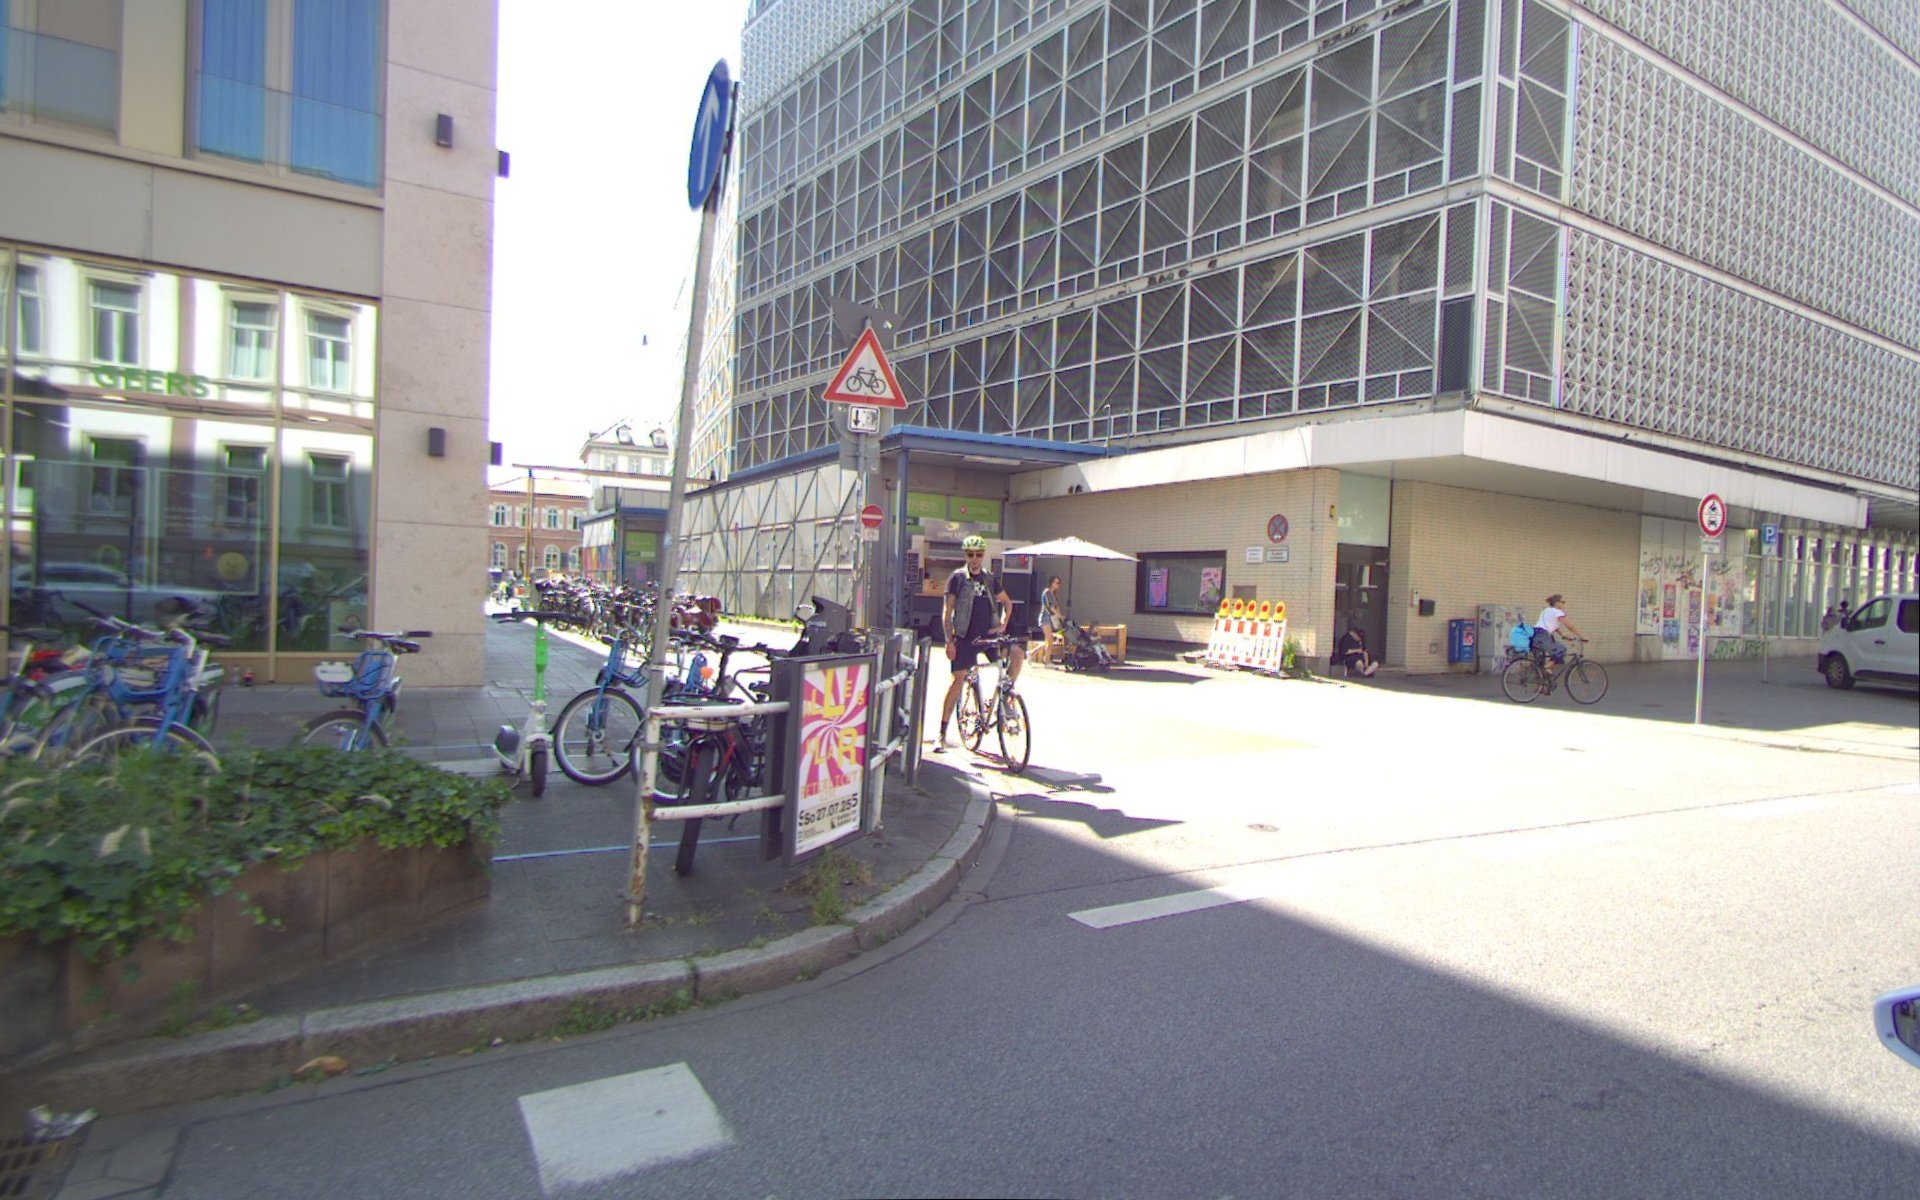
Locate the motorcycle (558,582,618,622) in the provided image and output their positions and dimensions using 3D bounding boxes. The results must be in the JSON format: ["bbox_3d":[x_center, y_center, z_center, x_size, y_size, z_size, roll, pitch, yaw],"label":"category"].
[{"bbox_3d":[-11.809,0.052,31.961,0.693,1.213,2.065,2,1,16],"label":"motorcycle"}]

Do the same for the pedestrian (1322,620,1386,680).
[{"bbox_3d":[7.705,0.962,19.649,0.831,1.071,0.717,2,4,-31],"label":"pedestrian"}]

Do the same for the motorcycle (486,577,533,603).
[{"bbox_3d":[-21.102,-0.460,47.084,0.696,1.189,1.861,3,2,38],"label":"motorcycle"}]

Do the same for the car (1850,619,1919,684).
[{"bbox_3d":[21.584,1.212,21.117,1.931,1.304,4.298,3,2,2],"label":"car"}]

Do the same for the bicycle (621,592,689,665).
[{"bbox_3d":[-5.336,0.468,17.503,0.632,1.141,2.048,5,-1,-29],"label":"bicycle"}]

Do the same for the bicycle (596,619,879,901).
[{"bbox_3d":[-1.108,0.739,5.580,0.593,1.189,2.065,3,1,15],"label":"bicycle"}]

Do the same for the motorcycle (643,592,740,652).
[{"bbox_3d":[-5.640,0.432,21.203,0.646,1.189,2.058,0,1,33],"label":"motorcycle"}]

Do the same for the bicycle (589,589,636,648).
[{"bbox_3d":[-7.264,0.363,20.949,0.450,1.141,2.047,5,-1,-31],"label":"bicycle"}]

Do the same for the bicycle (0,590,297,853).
[{"bbox_3d":[-4.854,0.566,5.874,0.551,1.142,2.327,2,2,-5],"label":"bicycle"}]

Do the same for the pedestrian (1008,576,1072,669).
[{"bbox_3d":[1.515,0.405,18.986,0.832,1.681,0.837,4,3,41],"label":"pedestrian"}]

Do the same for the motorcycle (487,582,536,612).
[{"bbox_3d":[-18.465,-0.143,41.388,0.693,1.189,2.065,2,2,15],"label":"motorcycle"}]

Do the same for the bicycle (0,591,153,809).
[{"bbox_3d":[-5.499,0.557,5.682,0.475,1.142,1.865,1,3,-5],"label":"bicycle"}]

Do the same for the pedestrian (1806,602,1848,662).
[{"bbox_3d":[23.183,0.845,26.849,0.634,1.580,0.674,1,1,-34],"label":"pedestrian"}]

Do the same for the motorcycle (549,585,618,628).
[{"bbox_3d":[-10.948,0.173,29.274,0.693,1.189,2.064,3,2,19],"label":"motorcycle"}]

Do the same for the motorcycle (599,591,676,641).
[{"bbox_3d":[-8.143,0.371,25.480,0.594,1.189,2.062,3,2,25],"label":"motorcycle"}]

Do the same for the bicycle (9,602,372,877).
[{"bbox_3d":[-4.068,0.639,5.561,0.551,1.142,2.062,1,3,-5],"label":"bicycle"}]

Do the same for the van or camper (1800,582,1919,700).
[{"bbox_3d":[18.089,0.765,18.415,1.959,2.041,4.662,2,2,10],"label":"van or camper"}]

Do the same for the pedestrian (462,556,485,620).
[{"bbox_3d":[-18.141,-0.436,37.432,0.660,2.322,0.761,2,0,-29],"label":"pedestrian"}]

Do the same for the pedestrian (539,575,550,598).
[{"bbox_3d":[-35.943,-1.169,86.965,0.758,1.900,0.662,2,0,-29],"label":"pedestrian"}]

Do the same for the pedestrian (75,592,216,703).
[{"bbox_3d":[-7.586,0.414,9.420,0.832,0.938,1.243,1,1,-31],"label":"pedestrian"}]

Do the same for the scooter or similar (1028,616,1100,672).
[{"bbox_3d":[1.949,0.809,18.796,0.958,0.977,0.898,3,1,40],"label":"scooter or similar"}]

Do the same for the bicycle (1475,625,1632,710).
[{"bbox_3d":[9.593,1.081,16.266,2.170,1.284,0.735,1,2,-8],"label":"bicycle"}]

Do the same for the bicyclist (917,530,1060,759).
[{"bbox_3d":[0.249,0.393,9.283,1.003,1.986,0.839,2,1,-24],"label":"bicyclist"}]

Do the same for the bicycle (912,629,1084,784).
[{"bbox_3d":[0.275,0.876,9.038,0.787,1.142,1.982,1,1,-22],"label":"bicycle"}]

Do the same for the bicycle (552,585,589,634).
[{"bbox_3d":[-9.753,0.210,25.101,0.564,1.124,2.048,1,2,-29],"label":"bicycle"}]

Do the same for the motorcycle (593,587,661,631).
[{"bbox_3d":[-8.899,0.220,26.962,0.593,1.081,2.064,3,2,19],"label":"motorcycle"}]

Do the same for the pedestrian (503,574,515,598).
[{"bbox_3d":[-36.813,-1.138,81.944,0.758,1.900,0.662,2,0,-29],"label":"pedestrian"}]

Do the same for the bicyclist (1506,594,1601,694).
[{"bbox_3d":[9.595,0.700,16.263,1.057,1.560,0.735,1,2,-8],"label":"bicyclist"}]

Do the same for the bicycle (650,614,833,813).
[{"bbox_3d":[-1.477,0.711,7.207,0.593,1.184,2.066,2,0,7],"label":"bicycle"}]

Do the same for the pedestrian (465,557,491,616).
[{"bbox_3d":[-14.993,-0.414,31.233,0.660,1.781,0.761,2,0,-29],"label":"pedestrian"}]

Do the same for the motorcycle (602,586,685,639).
[{"bbox_3d":[-7.429,0.269,23.661,0.642,1.189,2.062,1,1,25],"label":"motorcycle"}]

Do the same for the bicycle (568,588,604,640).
[{"bbox_3d":[-8.647,0.301,23.189,0.449,1.142,2.048,1,1,-29],"label":"bicycle"}]

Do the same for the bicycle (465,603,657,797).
[{"bbox_3d":[-2.761,0.622,7.203,0.634,1.142,2.063,2,1,-3],"label":"bicycle"}]
